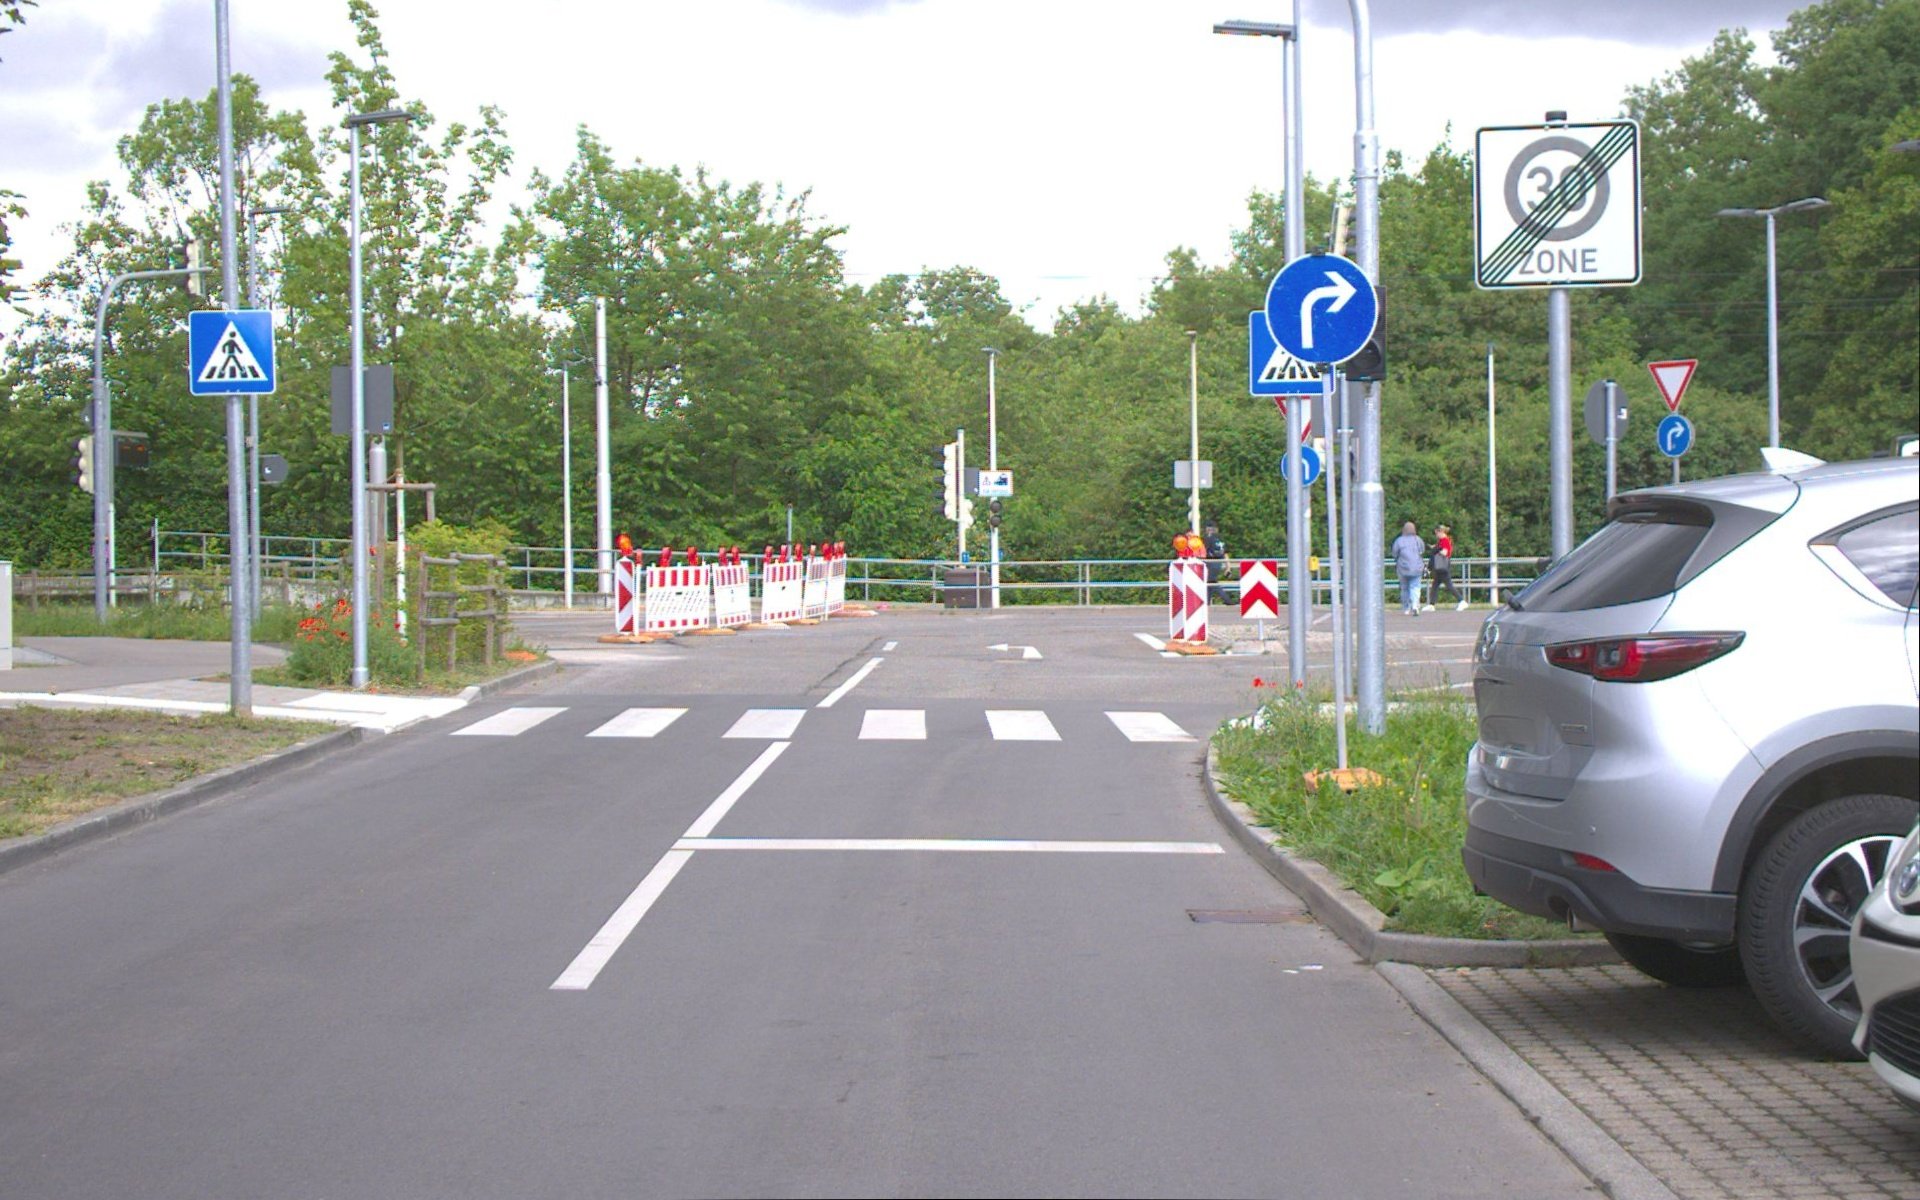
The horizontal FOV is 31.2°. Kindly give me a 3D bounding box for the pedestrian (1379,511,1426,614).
[{"bbox_3d":[7.516,-0.643,58.378,0.720,1.742,0.957,0,1,12],"label":"pedestrian"}]

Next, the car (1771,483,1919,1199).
[{"bbox_3d":[4.159,0.491,7.806,4.154,1.580,1.796,-1,1,-3],"label":"car"}]

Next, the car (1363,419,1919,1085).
[{"bbox_3d":[3.754,0.308,10.435,4.647,1.746,2.070,-2,1,-5],"label":"car"}]

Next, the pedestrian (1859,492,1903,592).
[{"bbox_3d":[16.263,-1.027,60.695,0.721,1.742,0.956,0,1,17],"label":"pedestrian"}]

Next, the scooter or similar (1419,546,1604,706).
[{"bbox_3d":[4.606,0.202,28.685,1.520,1.308,0.572,-1,1,-32],"label":"scooter or similar"}]

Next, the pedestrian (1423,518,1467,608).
[{"bbox_3d":[8.734,-0.674,61.901,0.720,1.616,0.805,0,1,12],"label":"pedestrian"}]

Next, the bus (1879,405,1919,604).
[{"bbox_3d":[21.208,-1.633,55.503,12.166,3.192,2.674,-1,1,13],"label":"bus"}]
